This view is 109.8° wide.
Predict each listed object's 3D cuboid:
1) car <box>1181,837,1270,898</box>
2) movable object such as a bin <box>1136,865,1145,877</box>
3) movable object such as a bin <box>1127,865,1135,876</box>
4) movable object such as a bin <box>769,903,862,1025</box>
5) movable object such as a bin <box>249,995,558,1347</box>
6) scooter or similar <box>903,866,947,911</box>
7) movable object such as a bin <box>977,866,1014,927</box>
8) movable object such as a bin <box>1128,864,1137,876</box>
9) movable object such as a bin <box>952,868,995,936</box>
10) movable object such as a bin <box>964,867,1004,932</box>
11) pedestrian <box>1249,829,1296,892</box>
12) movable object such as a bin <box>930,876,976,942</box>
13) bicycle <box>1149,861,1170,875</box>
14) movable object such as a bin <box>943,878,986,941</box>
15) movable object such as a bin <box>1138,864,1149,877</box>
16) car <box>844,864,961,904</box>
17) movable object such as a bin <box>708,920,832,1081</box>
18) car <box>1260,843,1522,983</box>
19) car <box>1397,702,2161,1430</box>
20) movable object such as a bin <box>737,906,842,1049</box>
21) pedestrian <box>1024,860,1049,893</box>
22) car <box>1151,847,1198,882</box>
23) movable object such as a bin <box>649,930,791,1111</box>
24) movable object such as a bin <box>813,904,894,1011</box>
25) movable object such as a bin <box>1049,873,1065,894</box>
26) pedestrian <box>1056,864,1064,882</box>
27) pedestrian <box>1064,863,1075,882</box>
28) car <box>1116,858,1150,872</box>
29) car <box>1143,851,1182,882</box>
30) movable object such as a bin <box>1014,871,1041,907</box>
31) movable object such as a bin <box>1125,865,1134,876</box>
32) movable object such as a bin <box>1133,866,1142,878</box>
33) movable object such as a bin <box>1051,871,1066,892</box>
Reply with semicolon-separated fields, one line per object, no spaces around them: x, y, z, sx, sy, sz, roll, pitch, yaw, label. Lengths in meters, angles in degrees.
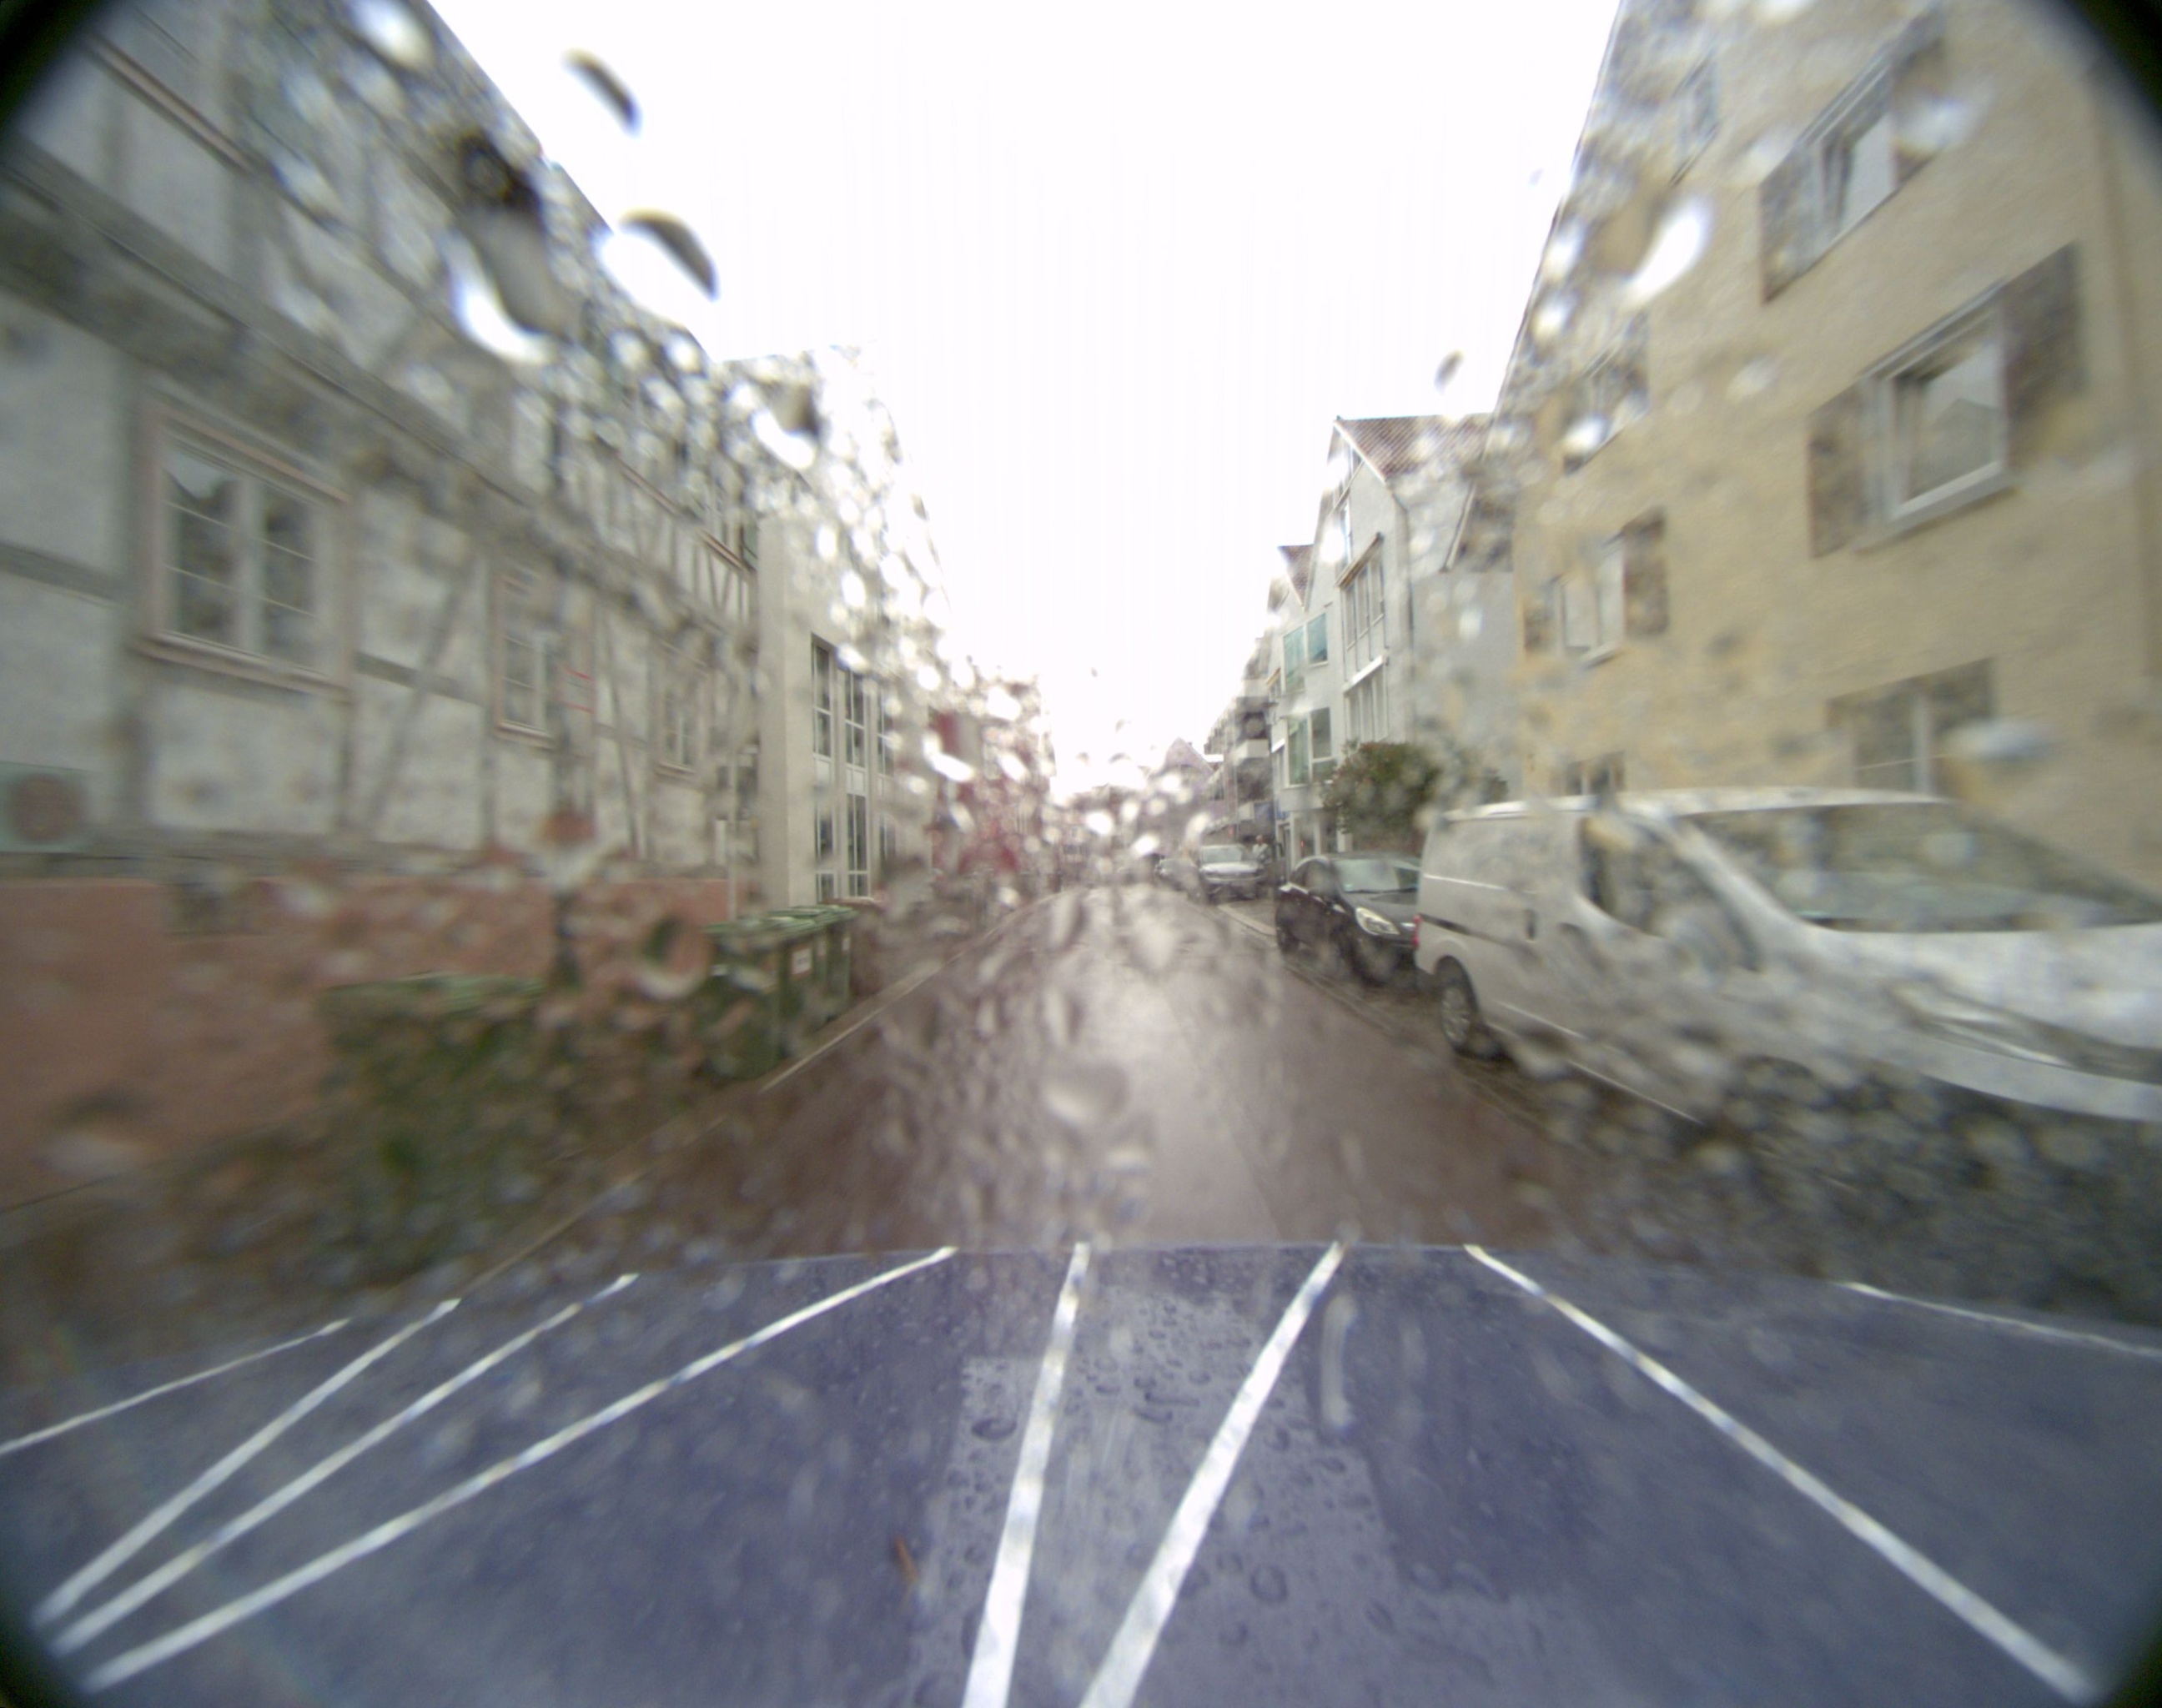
4.193;0.335;22.736;1.784;1.560;4.407;-2;1;0;car
5.516;1.586;70.332;0.688;1.070;0.669;-2;0;-7;movable object such as a bin
4.999;1.612;76.310;0.688;1.080;0.712;-2;0;-7;movable object such as a bin
-2.557;1.045;7.371;0.671;1.075;0.587;-1;2;0;movable object such as a bin
-2.599;1.180;2.985;0.610;1.121;0.599;-2;1;2;movable object such as a bin
-4.263;0.924;20.824;0.666;1.139;1.447;-2;1;9;scooter or similar
-1.884;0.931;16.811;0.639;1.283;0.632;-2;1;7;movable object such as a bin
5.106;1.593;75.400;0.688;1.074;0.669;-2;0;-7;movable object such as a bin
-2.124;0.937;15.069;0.639;1.283;0.632;-2;1;7;movable object such as a bin
-2.016;0.934;15.864;0.639;1.283;0.632;-2;1;7;movable object such as a bin
5.677;0.195;22.589;1.037;1.795;1.116;-3;0;2;pedestrian
-2.290;0.981;13.671;0.617;1.125;0.632;-2;1;6;movable object such as a bin
6.665;1.182;64.674;1.753;1.158;0.443;-3;1;-18;bicycle
-2.197;1.036;14.372;0.617;1.125;0.632;-2;1;6;movable object such as a bin
5.237;1.373;63.972;0.689;1.014;0.631;-2;0;-15;movable object such as a bin
-6.943;1.171;29.740;3.993;1.505;1.914;-1;-1;13;car
-2.434;1.133;5.994;0.639;1.140;0.604;-2;1;7;movable object such as a bin
3.654;0.587;9.748;1.685;1.381;3.824;-2;1;-1;car
3.519;0.473;4.097;1.728;1.814;4.427;-2;1;0;car
-2.562;1.064;6.733;0.639;1.140;0.632;-2;1;0;movable object such as a bin
-2.285;1.160;39.187;1.180;1.687;1.177;-1;0;-1;pedestrian
4.256;0.499;35.242;1.835;1.489;4.765;-1;-1;3;car
-2.512;1.142;5.343;0.639;1.140;0.580;-2;1;7;movable object such as a bin
-2.572;1.153;8.649;0.680;1.090;0.650;-3;1;-2;movable object such as a bin
-1.215;1.519;39.330;0.730;1.075;0.646;-2;0;3;movable object such as a bin
-2.191;1.967;78.444;0.656;1.891;0.658;0;0;-24;pedestrian
-1.177;1.926;78.380;0.775;1.893;0.804;-3;1;-24;pedestrian
6.488;1.354;93.820;3.993;1.574;1.834;-2;1;9;car
4.557;0.642;43.002;1.796;1.542;4.000;-3;1;2;car
-1.819;1.184;25.801;0.806;1.124;0.862;-2;1;0;movable object such as a bin
4.910;1.629;77.054;0.688;1.071;0.677;-2;0;-7;movable object such as a bin
5.383;1.701;72.026;0.688;1.067;0.669;-2;0;-7;movable object such as a bin
-1.192;1.493;40.773;0.678;1.078;0.698;-2;0;4;movable object such as a bin
